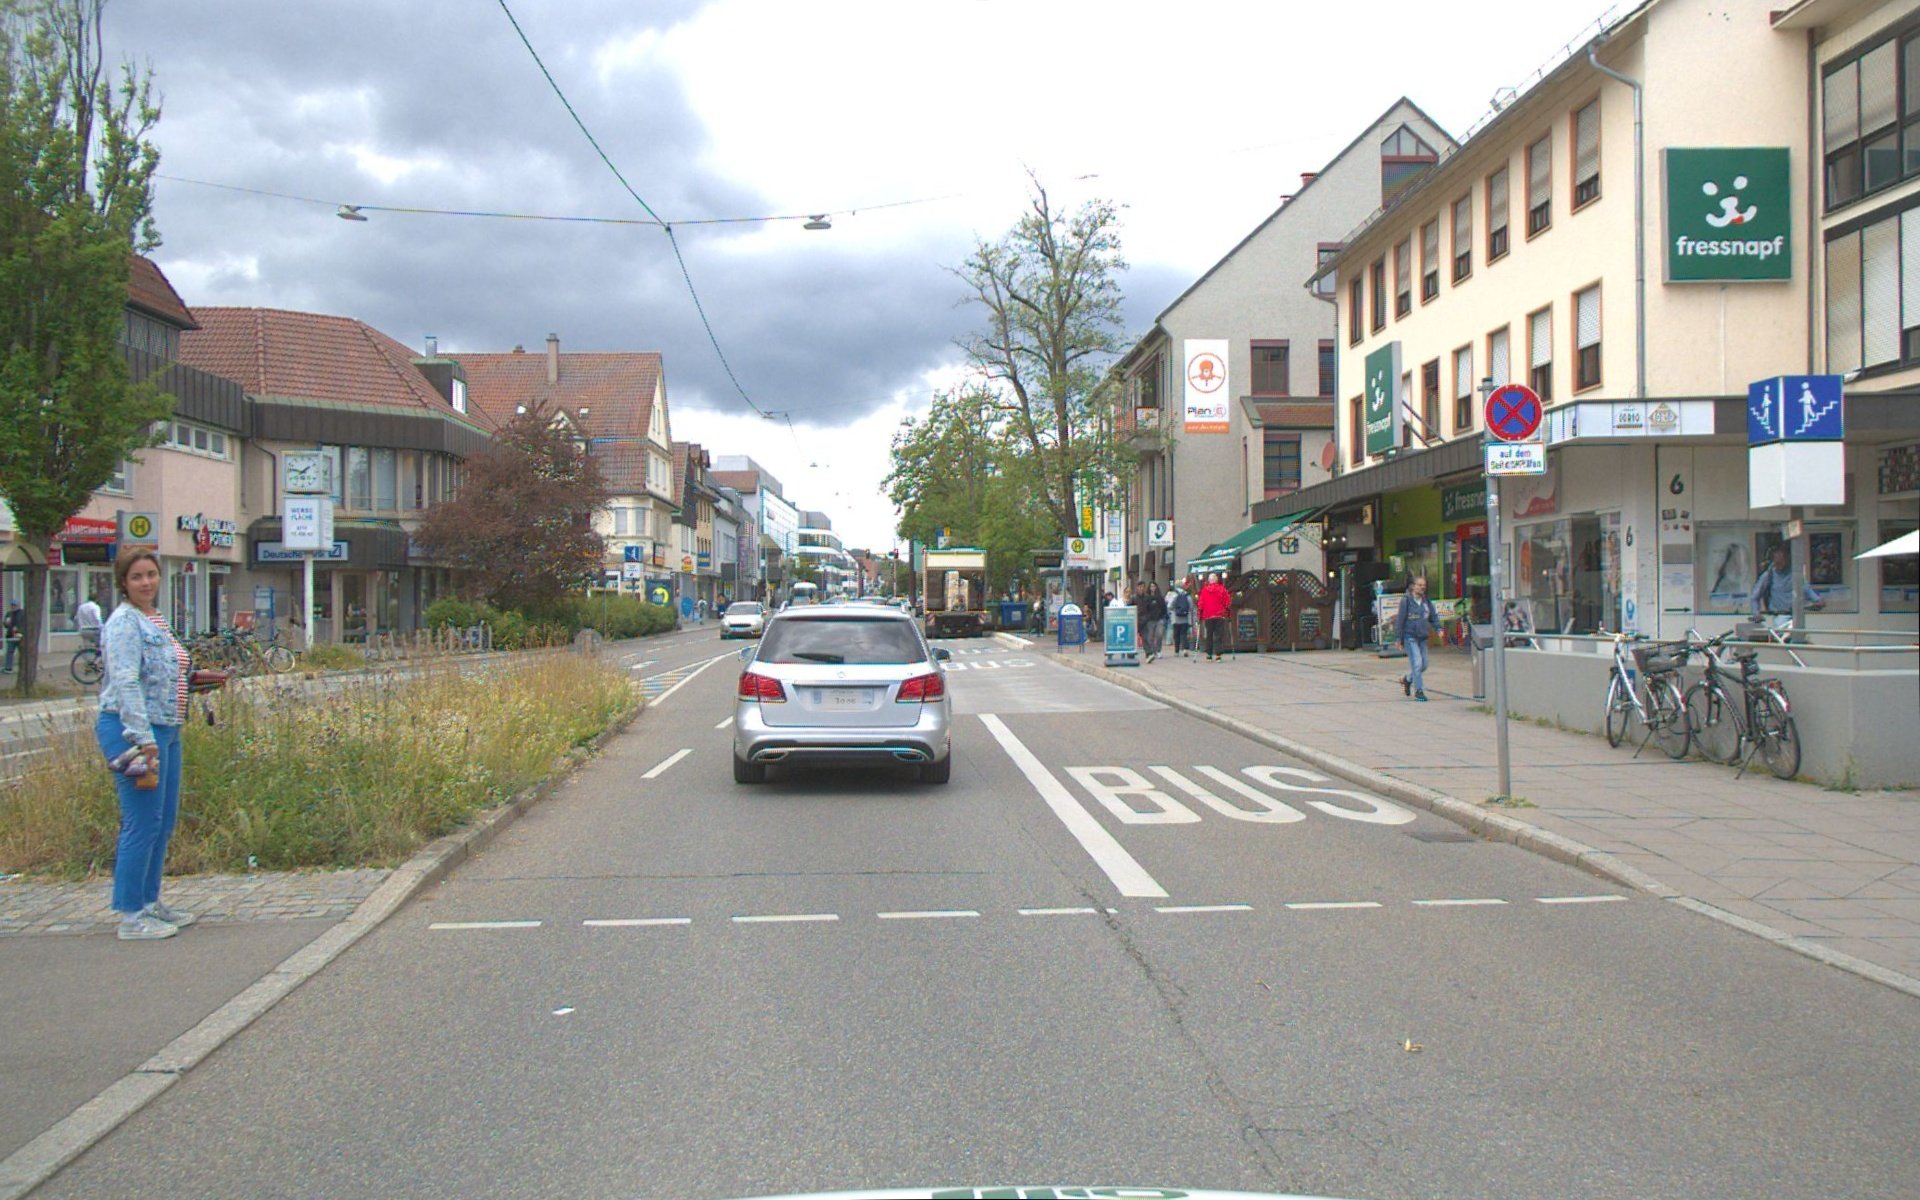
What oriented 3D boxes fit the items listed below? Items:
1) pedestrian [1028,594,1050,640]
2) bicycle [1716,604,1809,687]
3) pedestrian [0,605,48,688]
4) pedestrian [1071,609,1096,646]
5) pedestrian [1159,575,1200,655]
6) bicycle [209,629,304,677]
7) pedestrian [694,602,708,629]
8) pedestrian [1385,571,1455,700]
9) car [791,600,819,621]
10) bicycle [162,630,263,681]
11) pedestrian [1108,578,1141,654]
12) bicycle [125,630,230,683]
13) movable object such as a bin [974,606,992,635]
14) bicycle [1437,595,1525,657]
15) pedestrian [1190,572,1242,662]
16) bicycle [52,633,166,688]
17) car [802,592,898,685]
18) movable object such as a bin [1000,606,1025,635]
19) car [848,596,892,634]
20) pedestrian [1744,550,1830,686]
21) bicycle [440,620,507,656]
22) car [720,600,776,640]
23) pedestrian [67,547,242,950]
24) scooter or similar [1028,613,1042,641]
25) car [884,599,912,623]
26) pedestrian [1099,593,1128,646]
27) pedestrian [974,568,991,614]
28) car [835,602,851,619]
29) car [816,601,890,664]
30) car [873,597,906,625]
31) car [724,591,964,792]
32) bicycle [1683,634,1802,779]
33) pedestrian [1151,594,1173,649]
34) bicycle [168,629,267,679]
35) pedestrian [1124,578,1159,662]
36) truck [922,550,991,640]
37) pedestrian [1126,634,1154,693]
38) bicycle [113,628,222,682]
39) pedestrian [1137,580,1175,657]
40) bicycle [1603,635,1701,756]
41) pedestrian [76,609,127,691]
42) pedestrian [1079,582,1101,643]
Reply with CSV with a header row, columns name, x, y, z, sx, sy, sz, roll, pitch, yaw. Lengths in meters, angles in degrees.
name,x,y,z,sx,sy,sz,roll,pitch,yaw
pedestrian,2.887,0.624,60.572,0.528,1.663,0.583,2,0,-26
bicycle,9.986,0.547,20.620,0.268,0.991,1.384,-1,0,-10
pedestrian,-20.949,1.033,36.939,0.711,1.795,0.755,2,0,-4
pedestrian,4.063,0.905,54.464,0.698,1.186,0.587,0,0,-9
pedestrian,4.970,0.343,37.523,0.669,1.772,0.781,-2,-2,-7
bicycle,-16.651,1.247,39.173,1.982,1.109,0.647,0,0,-12
pedestrian,-16.218,0.948,103.734,0.801,1.663,0.979,2,0,-7
pedestrian,6.066,0.454,21.855,0.673,1.663,0.853,-1,0,0
car,-13.982,0.971,149.049,2.027,1.769,4.692,-2,0,0
bicycle,-16.964,1.260,37.574,1.982,1.109,0.647,0,0,-12
pedestrian,3.625,0.350,36.460,0.600,1.663,0.614,-1,-1,-5
bicycle,-17.186,1.233,36.356,1.982,1.109,0.647,0,0,-12
movable object such as a bin,1.083,0.978,78.265,0.863,1.363,1.085,-1,0,0
bicycle,9.584,0.464,30.536,0.726,1.081,2.349,-1,0,-4
pedestrian,5.198,0.347,33.563,0.780,1.772,0.780,-2,-2,-8
bicycle,-17.658,1.252,34.353,1.985,1.109,0.646,0,0,-16
car,-2.073,0.690,31.805,1.719,1.547,3.999,1,2,-3
movable object such as a bin,2.482,0.951,78.110,1.120,1.363,1.376,-1,0,0
car,-4.256,0.696,78.399,1.953,1.713,3.999,0,0,-2
pedestrian,10.347,0.216,20.709,0.652,1.663,0.800,0,0,-1
bicycle,-15.483,1.200,52.693,1.982,1.109,0.647,0,0,-12
car,-8.691,0.806,68.217,1.836,1.532,4.342,-2,-1,-2
pedestrian,-3.487,0.612,7.198,0.493,1.663,0.662,-1,0,-8
scooter or similar,2.718,0.980,60.114,0.382,0.976,0.350,-1,0,-43
car,-4.476,0.793,119.552,1.953,1.713,3.999,0,0,-2
pedestrian,4.828,0.606,51.893,0.605,1.663,0.788,0,1,-24
pedestrian,0.883,-0.354,66.089,0.601,1.811,0.587,-1,-1,-6
car,-11.653,1.039,164.902,1.539,1.567,2.958,2,0,-4
car,-3.001,0.890,47.273,1.953,1.713,3.999,0,0,-2
car,-4.365,0.673,102.362,1.953,1.713,3.999,0,0,-2
car,-1.013,0.710,14.699,1.837,1.532,3.997,0,0,-4
bicycle,6.287,0.831,13.341,0.268,1.071,1.387,-1,0,-1
pedestrian,6.093,0.637,49.932,0.574,1.663,0.615,0,0,-1
bicycle,-17.166,1.231,38.260,1.982,1.109,0.647,0,0,-12
pedestrian,3.736,0.406,34.095,0.599,1.707,0.615,2,0,0
truck,-0.266,-0.189,71.723,2.634,3.623,9.762,0,0,-2
pedestrian,5.032,1.766,46.266,0.658,1.594,0.492,1,1,18
bicycle,-16.912,1.167,35.313,1.979,1.109,0.648,0,0,-7
pedestrian,4.323,0.405,36.498,0.704,1.663,0.614,-1,-1,-5
bicycle,6.187,0.831,14.830,0.268,0.991,1.387,-1,0,-1
pedestrian,-19.529,1.125,37.625,0.711,1.795,0.755,2,0,-4
pedestrian,4.490,0.433,57.042,0.600,2.083,0.588,-2,-1,11
